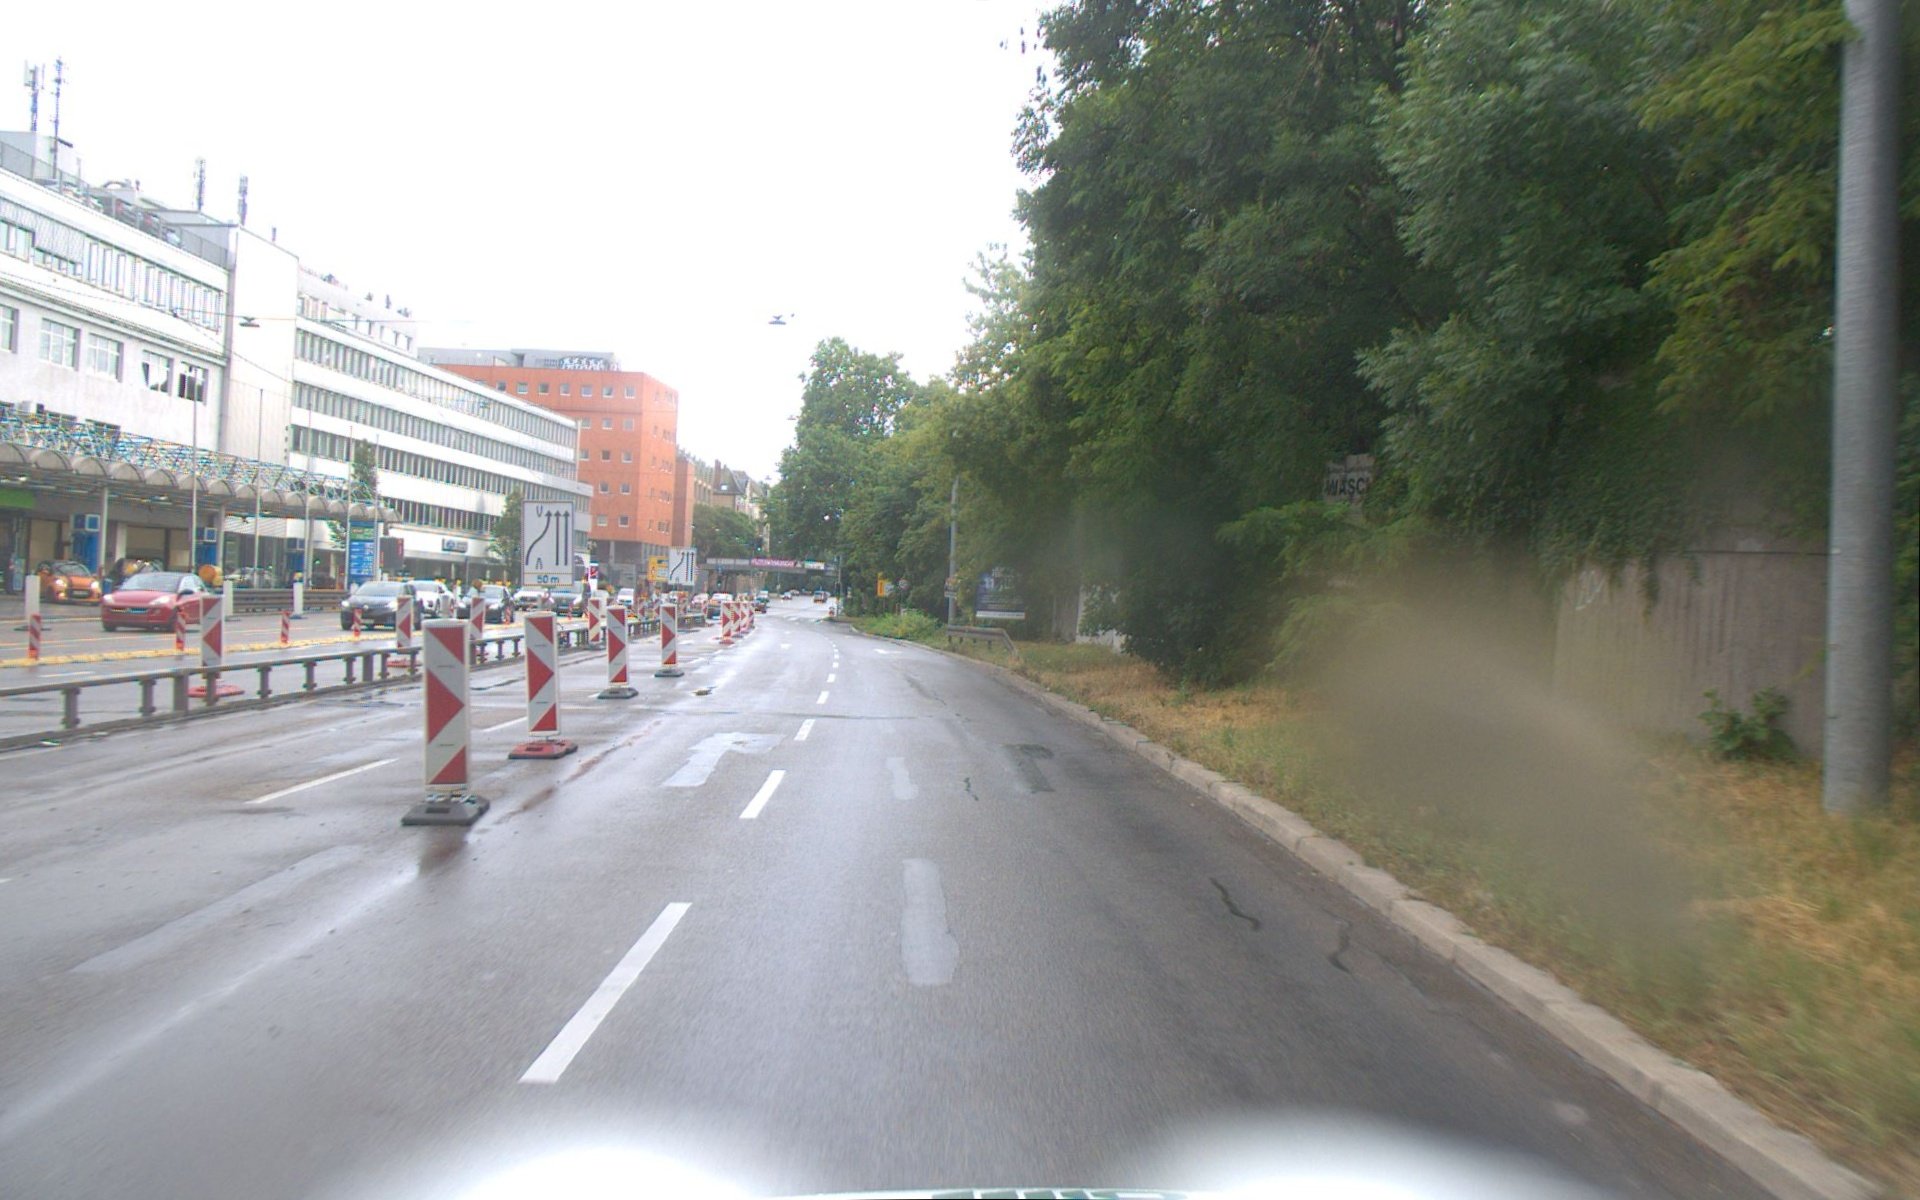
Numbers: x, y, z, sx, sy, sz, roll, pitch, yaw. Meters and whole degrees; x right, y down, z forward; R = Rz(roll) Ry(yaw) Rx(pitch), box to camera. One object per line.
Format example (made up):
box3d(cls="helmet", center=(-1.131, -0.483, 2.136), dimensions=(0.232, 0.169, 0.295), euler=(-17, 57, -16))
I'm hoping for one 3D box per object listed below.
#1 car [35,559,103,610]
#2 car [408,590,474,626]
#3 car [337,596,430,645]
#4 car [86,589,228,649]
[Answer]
box3d(cls="car", center=(-32.806, -0.585, 60.836), dimensions=(1.784, 1.683, 3.954), euler=(4, 0, -34))
box3d(cls="car", center=(-21.616, 0.328, 69.007), dimensions=(1.745, 1.405, 3.996), euler=(1, 1, -5))
box3d(cls="car", center=(-17.563, 0.597, 50.565), dimensions=(1.745, 1.405, 3.996), euler=(1, 1, -5))
box3d(cls="car", center=(-19.979, 0.441, 41.330), dimensions=(1.744, 1.405, 3.998), euler=(1, 1, -3))
